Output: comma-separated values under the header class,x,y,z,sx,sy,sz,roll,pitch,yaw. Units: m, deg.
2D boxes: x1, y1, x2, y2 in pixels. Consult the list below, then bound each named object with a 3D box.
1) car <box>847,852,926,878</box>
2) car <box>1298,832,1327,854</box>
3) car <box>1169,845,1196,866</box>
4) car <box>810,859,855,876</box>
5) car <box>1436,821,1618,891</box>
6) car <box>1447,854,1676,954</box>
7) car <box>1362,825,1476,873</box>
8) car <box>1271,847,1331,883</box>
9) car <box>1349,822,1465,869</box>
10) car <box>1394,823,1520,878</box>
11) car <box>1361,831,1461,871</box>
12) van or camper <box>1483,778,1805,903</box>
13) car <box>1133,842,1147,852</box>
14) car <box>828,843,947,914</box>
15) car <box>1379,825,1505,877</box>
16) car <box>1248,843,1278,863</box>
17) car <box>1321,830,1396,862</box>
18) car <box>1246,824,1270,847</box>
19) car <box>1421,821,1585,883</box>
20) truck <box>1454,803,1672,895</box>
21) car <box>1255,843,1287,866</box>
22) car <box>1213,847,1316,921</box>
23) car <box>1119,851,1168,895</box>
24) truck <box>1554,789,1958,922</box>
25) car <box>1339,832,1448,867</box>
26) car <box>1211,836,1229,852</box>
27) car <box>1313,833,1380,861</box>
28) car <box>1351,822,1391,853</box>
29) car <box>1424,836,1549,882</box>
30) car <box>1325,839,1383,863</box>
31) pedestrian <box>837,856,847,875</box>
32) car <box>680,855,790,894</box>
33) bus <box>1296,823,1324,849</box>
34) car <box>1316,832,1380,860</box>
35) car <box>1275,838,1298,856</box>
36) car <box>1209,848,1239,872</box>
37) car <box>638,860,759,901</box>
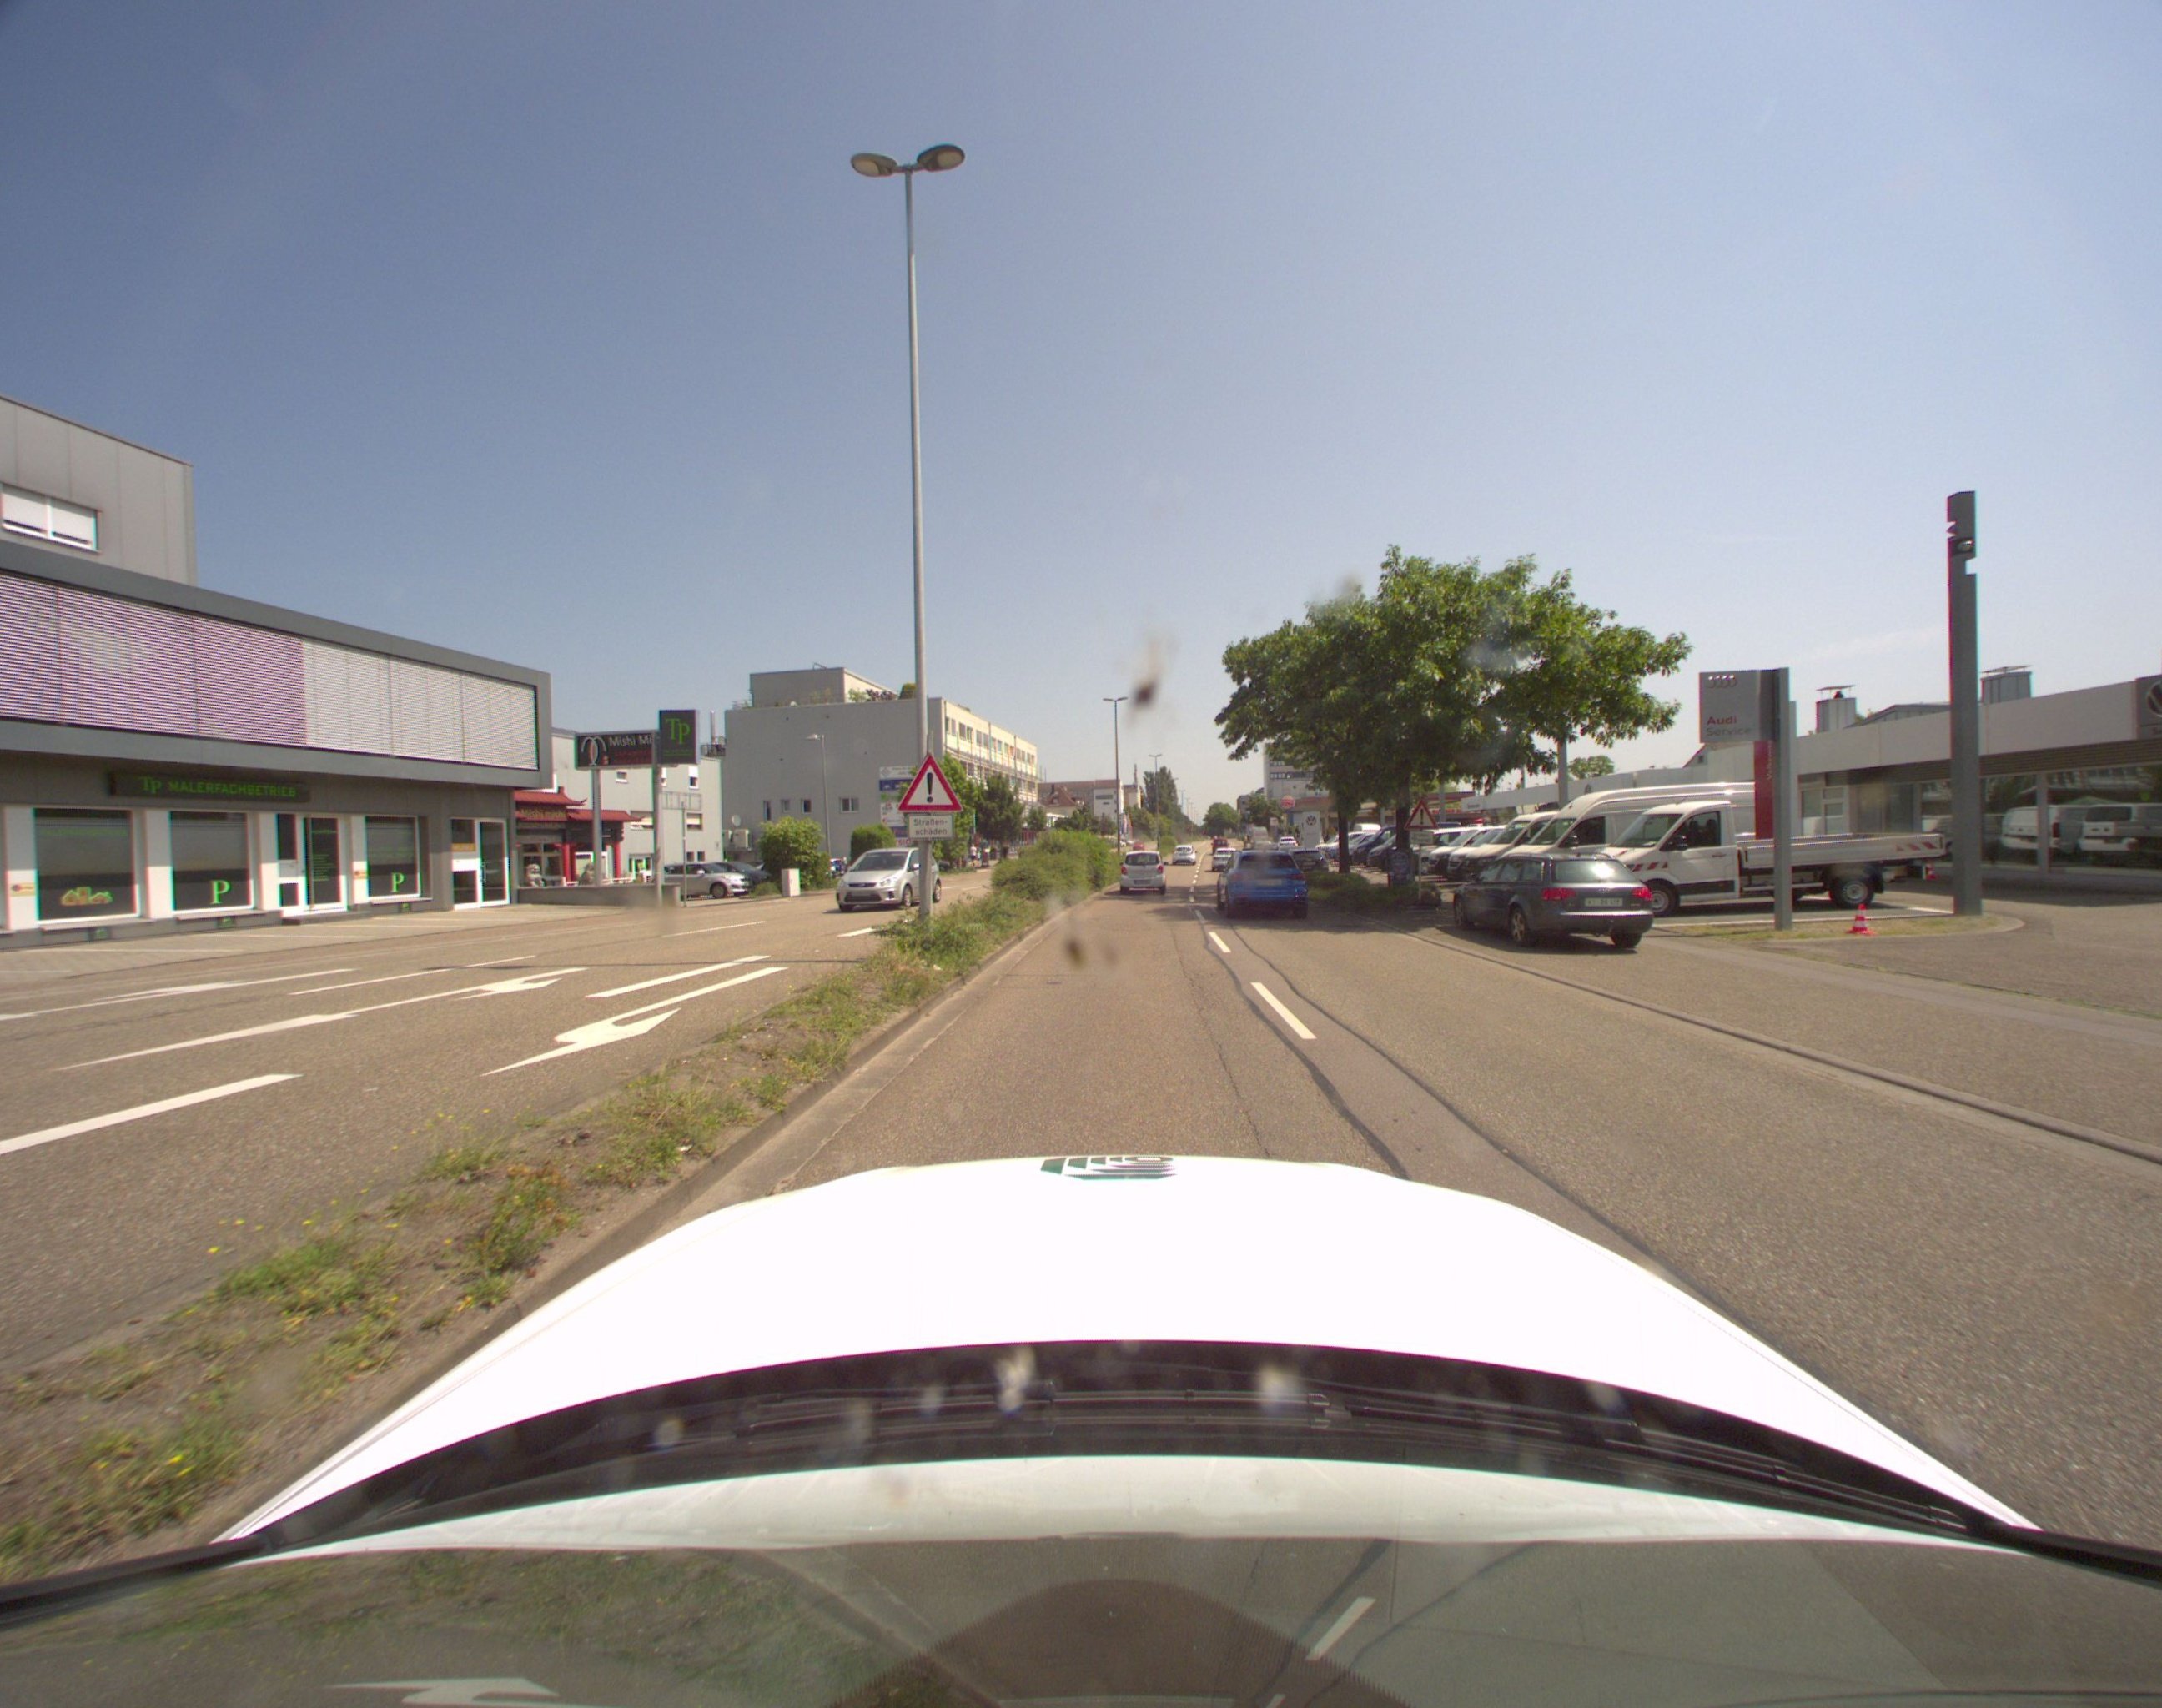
class,x,y,z,sx,sy,sz,roll,pitch,yaw
car,-11.770,0.658,49.492,4.127,1.342,2.046,-3,1,6
car,22.101,-1.034,77.971,1.982,2.023,5.173,0,1,8
car,7.580,0.113,60.926,1.822,1.450,4.004,0,0,4
car,-20.781,1.147,68.310,1.982,1.372,4.010,0,-1,9
car,14.883,0.063,27.453,4.921,2.113,2.164,-2,1,7
car,7.813,0.707,13.779,1.788,1.406,4.329,0,0,7
car,16.982,-0.267,41.189,4.872,2.114,2.134,-3,1,7
car,9.716,0.433,36.307,1.674,1.435,4.443,-2,0,3
car,18.371,-0.449,46.179,5.805,2.524,2.211,0,-1,11
car,16.352,-0.129,35.696,4.482,2.013,2.204,-4,-1,9
car,17.588,-0.152,43.568,4.542,1.851,1.956,-3,1,7
van or camper,14.731,-0.331,21.759,6.758,2.897,2.281,-2,1,8
car,8.945,-1.072,123.492,1.620,1.424,3.460,-4,0,10
car,-5.062,0.591,21.930,1.772,1.629,4.345,-3,0,5
car,17.063,-0.153,38.701,5.036,2.097,2.045,-4,0,8
car,14.595,-0.103,65.450,1.725,1.552,4.185,-1,1,4
car,19.454,-0.568,57.170,4.615,2.013,1.964,-3,1,6
car,23.827,-2.470,109.969,2.122,2.839,7.324,-6,0,7
car,15.467,-0.061,30.106,4.884,1.971,2.147,-3,0,8
truck,14.401,-0.133,24.681,5.215,2.435,2.117,-3,0,10
car,13.967,0.010,60.096,1.704,1.548,4.800,-2,0,7
car,4.377,0.647,20.069,1.904,1.597,4.402,0,0,5
car,2.257,0.672,29.744,1.705,1.511,3.249,0,-1,3
truck,13.910,0.038,17.273,6.207,2.336,2.375,-3,1,9
car,18.714,-0.256,49.042,5.857,2.013,2.266,0,0,10
car,15.188,-1.082,88.922,1.785,1.729,3.980,0,0,7
car,20.237,-0.495,62.131,4.531,1.888,1.861,-3,-1,7
car,27.482,-1.558,77.463,2.242,2.675,7.036,-2,1,9
car,16.186,0.168,32.638,4.008,1.470,1.915,-4,1,2
car,18.266,-0.207,54.628,3.604,1.570,1.723,0,1,14
pedestrian,-19.949,0.961,67.988,0.604,1.588,0.722,0,-1,7
car,-14.668,0.848,34.611,3.971,1.371,1.674,-3,1,11
bus,29.090,-2.354,103.880,2.785,3.078,12.329,-1,2,12
car,19.628,-0.583,59.946,4.127,1.781,1.885,-3,-1,7
car,19.713,-0.719,78.387,1.657,1.596,4.624,-2,1,9
car,8.662,0.345,49.520,1.657,1.399,3.803,-1,0,9
car,-14.914,1.028,31.859,3.970,1.459,1.577,-2,-1,3
